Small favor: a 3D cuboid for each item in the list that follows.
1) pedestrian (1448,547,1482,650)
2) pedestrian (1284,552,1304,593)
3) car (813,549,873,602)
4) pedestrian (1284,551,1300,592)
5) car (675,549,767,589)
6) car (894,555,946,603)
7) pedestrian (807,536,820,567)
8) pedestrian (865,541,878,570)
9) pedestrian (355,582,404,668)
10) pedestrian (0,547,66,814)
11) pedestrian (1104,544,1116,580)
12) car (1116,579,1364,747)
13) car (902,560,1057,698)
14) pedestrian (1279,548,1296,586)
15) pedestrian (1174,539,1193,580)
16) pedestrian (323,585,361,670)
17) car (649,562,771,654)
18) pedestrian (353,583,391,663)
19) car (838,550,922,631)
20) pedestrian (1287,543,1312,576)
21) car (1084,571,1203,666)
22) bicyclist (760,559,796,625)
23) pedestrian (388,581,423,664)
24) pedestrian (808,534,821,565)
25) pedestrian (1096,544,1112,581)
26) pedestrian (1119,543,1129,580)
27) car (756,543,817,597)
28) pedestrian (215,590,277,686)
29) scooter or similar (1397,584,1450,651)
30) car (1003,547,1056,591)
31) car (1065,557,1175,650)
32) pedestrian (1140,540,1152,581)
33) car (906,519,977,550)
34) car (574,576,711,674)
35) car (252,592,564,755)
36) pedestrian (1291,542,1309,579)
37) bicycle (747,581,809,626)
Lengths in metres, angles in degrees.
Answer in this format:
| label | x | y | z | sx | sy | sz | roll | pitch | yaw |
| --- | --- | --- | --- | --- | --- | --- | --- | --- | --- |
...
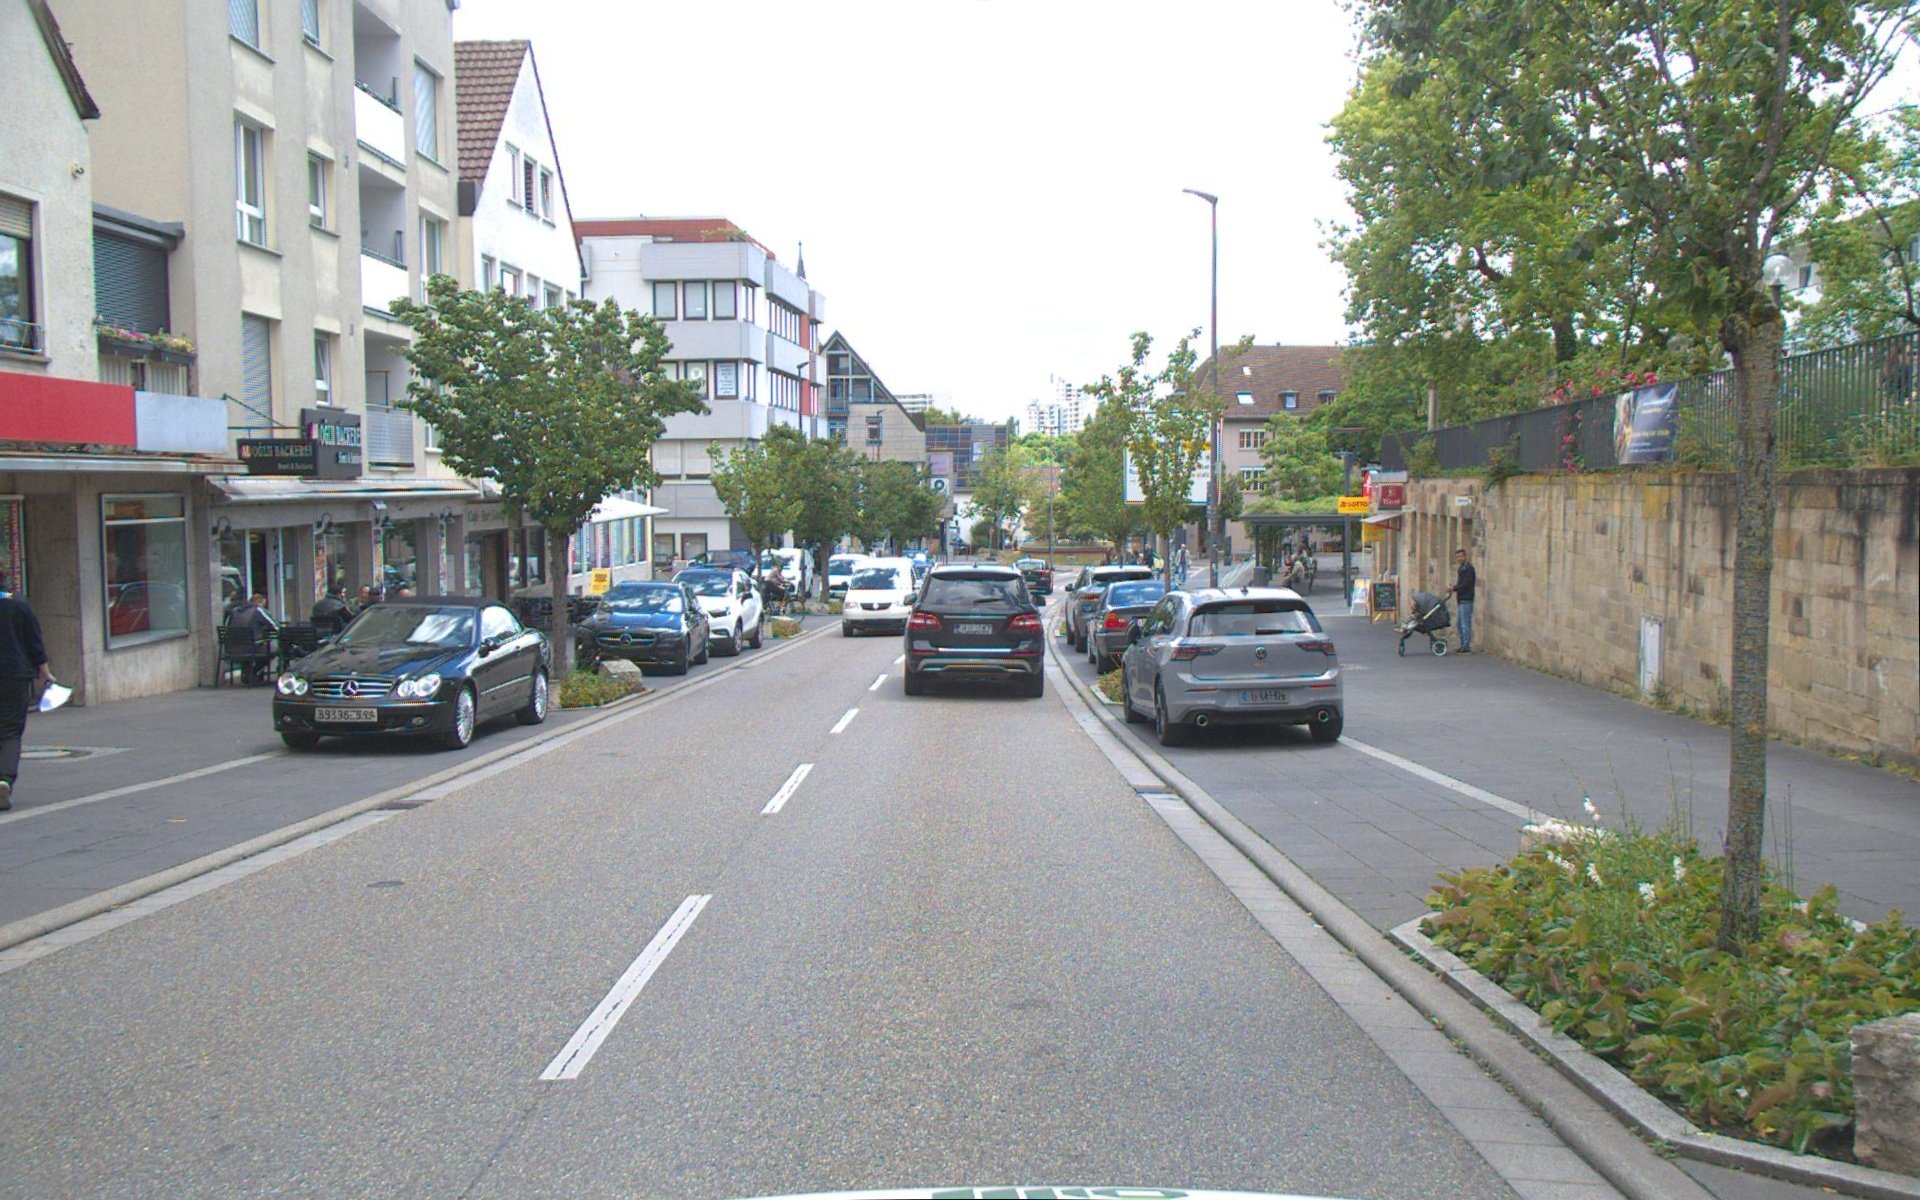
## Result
| label | x | y | z | sx | sy | sz | roll | pitch | yaw |
| --- | --- | --- | --- | --- | --- | --- | --- | --- | --- |
| pedestrian | 8.367 | -0.029 | 27.404 | 0.463 | 1.674 | 0.507 | -1 | 0 | 12 |
| pedestrian | 11.109 | -0.916 | 55.028 | 0.603 | 1.343 | 0.586 | -1 | 4 | 8 |
| car | -4.043 | -0.891 | 57.762 | 1.622 | 1.701 | 4.353 | 1 | 2 | 2 |
| pedestrian | 11.161 | -0.955 | 55.606 | 0.484 | 1.343 | 0.576 | -1 | 4 | 9 |
| car | -9.812 | -1.303 | 68.091 | 3.554 | 1.585 | 1.668 | 0 | 2 | -2 |
| car | -1.332 | -0.736 | 56.227 | 1.573 | 1.412 | 3.631 | -2 | 4 | 1 |
| pedestrian | -7.524 | -2.498 | 85.079 | 0.499 | 1.593 | 0.587 | -1 | 2 | 6 |
| pedestrian | -4.874 | -2.466 | 91.325 | 0.574 | 1.615 | 0.639 | 1 | 2 | 6 |
| pedestrian | -8.918 | 0.378 | 25.403 | 0.538 | 1.289 | 0.599 | 0 | 1 | 0 |
| pedestrian | -6.615 | 0.537 | 11.470 | 0.651 | 1.792 | 0.772 | 0 | 0 | -24 |
| pedestrian | 6.637 | -1.674 | 73.126 | 0.489 | 1.593 | 0.498 | -1 | 2 | 4 |
| car | 2.721 | 0.550 | 16.949 | 1.719 | 1.466 | 4.088 | -1 | 0 | -2 |
| car | 0.189 | 0.358 | 23.529 | 1.986 | 1.757 | 4.432 | 1 | 0 | -2 |
| pedestrian | 11.318 | -1.140 | 57.101 | 0.556 | 1.283 | 0.542 | -1 | 4 | 9 |
| pedestrian | 9.431 | -1.696 | 69.777 | 0.670 | 1.711 | 0.715 | 0 | 2 | 16 |
| pedestrian | -9.515 | 0.416 | 25.467 | 0.387 | 1.271 | 0.500 | 0 | 2 | 0 |
| car | -4.969 | 0.110 | 33.363 | 1.631 | 1.675 | 4.136 | 1 | 2 | 2 |
| pedestrian | -9.567 | 0.370 | 26.924 | 0.418 | 1.271 | 0.567 | 0 | 2 | 0 |
| car | -1.909 | -0.259 | 40.754 | 1.710 | 1.834 | 4.213 | -2 | 1 | 1 |
| pedestrian | 13.461 | -1.595 | 65.505 | 0.755 | 1.291 | 0.674 | 2 | 3 | 35 |
| car | 2.994 | 0.278 | 27.689 | 1.646 | 1.441 | 4.373 | -1 | 0 | 2 |
| bicyclist | -4.858 | -0.208 | 44.176 | 0.769 | 1.724 | 0.504 | -3 | 2 | -34 |
| pedestrian | -8.975 | 0.360 | 26.774 | 0.412 | 1.322 | 0.454 | 0 | 2 | 0 |
| pedestrian | -7.422 | -2.573 | 84.377 | 0.573 | 1.593 | 0.644 | -2 | 2 | -4 |
| pedestrian | 6.154 | -1.605 | 70.599 | 0.503 | 1.576 | 0.486 | 0 | 2 | 32 |
| pedestrian | 7.247 | -1.709 | 73.079 | 0.385 | 1.593 | 0.352 | -1 | 2 | 7 |
| car | -6.302 | -1.140 | 60.485 | 1.720 | 1.845 | 4.477 | 1 | 2 | 0 |
| pedestrian | -9.648 | 0.504 | 22.368 | 0.583 | 1.268 | 0.599 | 0 | 1 | 0 |
| scooter or similar | 7.737 | 0.294 | 27.642 | 0.794 | 1.091 | 0.561 | -1 | 0 | 12 |
| car | 2.863 | -1.321 | 68.916 | 2.010 | 1.615 | 4.374 | 2 | 3 | 0 |
| car | 3.219 | 0.006 | 34.053 | 1.889 | 1.754 | 4.575 | -1 | 2 | 1 |
| pedestrian | 7.938 | -1.691 | 70.584 | 0.500 | 1.709 | 0.577 | -1 | 2 | 5 |
| car | -1.744 | -6.022 | 152.804 | 6.182 | 2.604 | 2.197 | 1 | 0 | -16 |
| car | -5.335 | 0.363 | 28.256 | 1.803 | 1.476 | 4.511 | 1 | 1 | -5 |
| car | -5.435 | 0.638 | 16.905 | 1.623 | 1.416 | 4.444 | 0 | 1 | 1 |
| pedestrian | 12.638 | -1.474 | 61.535 | 0.610 | 1.330 | 0.547 | -1 | 3 | 9 |
| bicycle | -4.852 | 0.080 | 44.184 | 1.635 | 1.106 | 0.408 | -3 | 2 | -36 |
